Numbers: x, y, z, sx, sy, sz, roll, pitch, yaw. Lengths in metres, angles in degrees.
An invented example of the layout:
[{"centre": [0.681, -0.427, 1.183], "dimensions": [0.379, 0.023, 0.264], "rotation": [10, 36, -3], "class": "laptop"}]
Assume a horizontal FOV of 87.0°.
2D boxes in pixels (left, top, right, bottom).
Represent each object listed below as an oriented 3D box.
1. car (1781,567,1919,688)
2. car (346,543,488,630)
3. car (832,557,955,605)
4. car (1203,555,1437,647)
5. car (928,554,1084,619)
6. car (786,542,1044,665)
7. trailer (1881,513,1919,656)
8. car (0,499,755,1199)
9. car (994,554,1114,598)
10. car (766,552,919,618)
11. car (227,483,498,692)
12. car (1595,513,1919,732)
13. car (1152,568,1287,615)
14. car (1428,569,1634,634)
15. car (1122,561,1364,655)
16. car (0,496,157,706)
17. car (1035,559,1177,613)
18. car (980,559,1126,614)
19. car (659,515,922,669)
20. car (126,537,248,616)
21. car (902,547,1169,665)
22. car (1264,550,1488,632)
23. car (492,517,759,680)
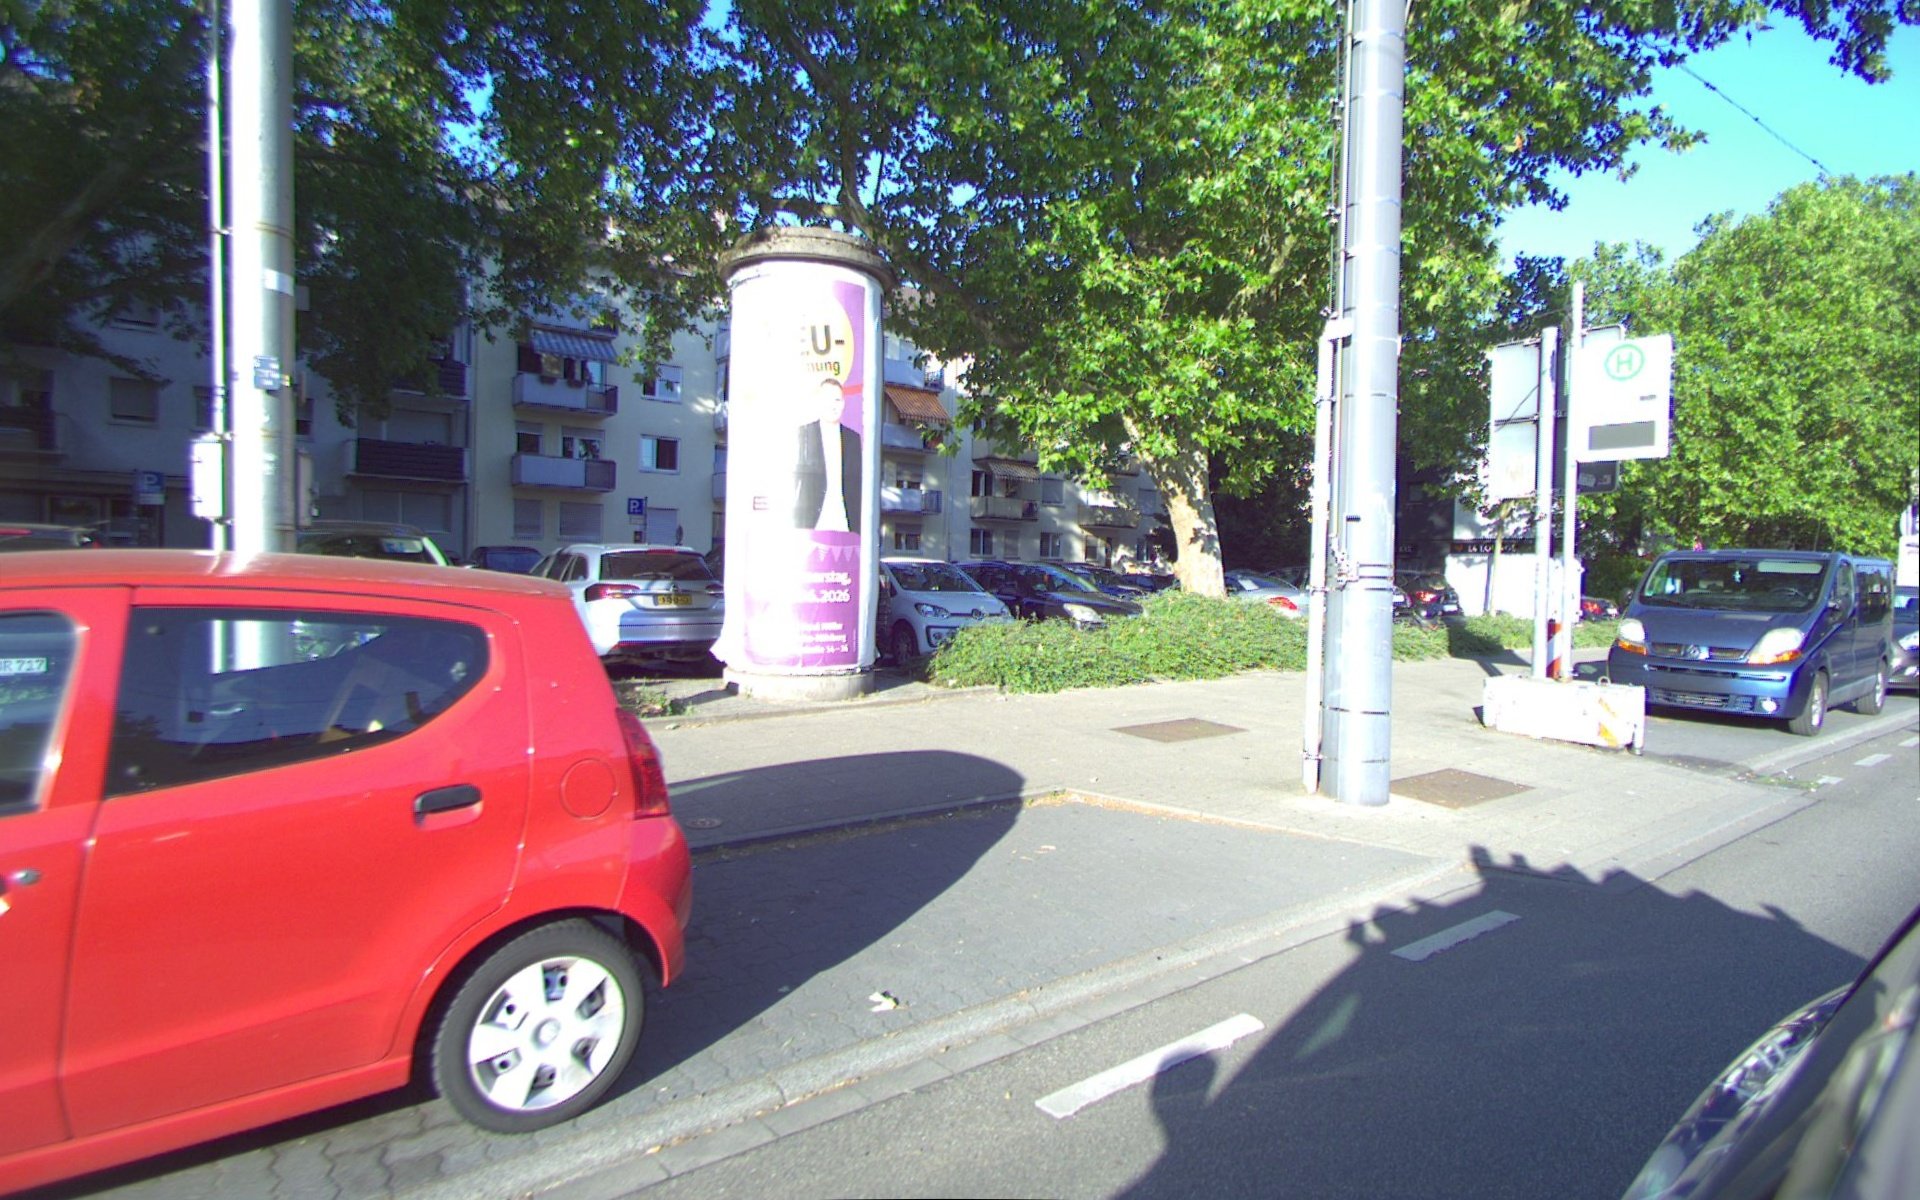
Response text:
[{"centre": [14.407, 0.361, 15.608], "dimensions": [3.926, 1.650, 1.801], "rotation": [0, 2, -37], "class": "car"}, {"centre": [-10.958, -0.322, 20.291], "dimensions": [1.963, 1.553, 4.062], "rotation": [0, 2, -36], "class": "car"}, {"centre": [-2.302, -0.671, 34.021], "dimensions": [1.947, 1.514, 4.290], "rotation": [0, 2, -40], "class": "car"}, {"centre": [7.054, -0.053, 20.226], "dimensions": [1.768, 1.618, 4.126], "rotation": [0, 2, -36], "class": "car"}, {"centre": [1.243, -0.439, 29.070], "dimensions": [1.965, 1.712, 4.452], "rotation": [0, 2, -40], "class": "car"}, {"centre": [-0.757, 0.059, 14.065], "dimensions": [1.768, 1.455, 3.852], "rotation": [2, -1, -36], "class": "car"}, {"centre": [19.751, -0.281, 19.666], "dimensions": [4.565, 2.620, 1.891], "rotation": [0, 2, -37], "class": "trailer"}, {"centre": [-2.491, 0.507, 2.449], "dimensions": [3.559, 1.512, 1.575], "rotation": [0, 4, -37], "class": "car"}, {"centre": [3.464, -0.930, 37.869], "dimensions": [1.965, 1.514, 4.290], "rotation": [0, 2, -40], "class": "car"}, {"centre": [-3.097, -0.430, 25.955], "dimensions": [1.963, 1.553, 4.294], "rotation": [0, 2, -37], "class": "car"}, {"centre": [-6.037, -0.069, 9.990], "dimensions": [1.822, 1.621, 4.031], "rotation": [0, -1, -38], "class": "car"}, {"centre": [9.409, 0.176, 11.823], "dimensions": [4.478, 2.104, 1.890], "rotation": [0, 2, -37], "class": "car"}, {"centre": [9.176, -0.334, 36.072], "dimensions": [1.965, 1.514, 4.290], "rotation": [0, 2, -40], "class": "car"}, {"centre": [14.912, -0.024, 26.605], "dimensions": [1.964, 1.514, 4.291], "rotation": [0, 2, -39], "class": "car"}, {"centre": [5.135, 0.059, 18.847], "dimensions": [1.768, 1.513, 4.126], "rotation": [0, 2, -36], "class": "car"}, {"centre": [-7.944, 0.031, 8.566], "dimensions": [1.741, 1.502, 3.505], "rotation": [0, -1, -38], "class": "car"}, {"centre": [4.640, -0.484, 32.573], "dimensions": [1.965, 1.553, 4.290], "rotation": [0, 2, -40], "class": "car"}, {"centre": [2.766, -0.451, 30.932], "dimensions": [1.965, 1.514, 4.290], "rotation": [0, 2, -40], "class": "car"}, {"centre": [-2.306, -0.090, 12.971], "dimensions": [1.821, 1.652, 3.852], "rotation": [0, 0, -36], "class": "car"}, {"centre": [-16.841, -0.531, 22.166], "dimensions": [1.963, 1.553, 4.062], "rotation": [0, 2, -36], "class": "car"}, {"centre": [0.984, -0.004, 15.246], "dimensions": [1.768, 1.513, 4.126], "rotation": [0, 2, -36], "class": "car"}, {"centre": [8.774, -0.164, 21.654], "dimensions": [1.768, 1.570, 4.124], "rotation": [0, 0, -36], "class": "car"}, {"centre": [-3.933, 0.011, 11.475], "dimensions": [1.821, 1.514, 3.851], "rotation": [0, -1, -36], "class": "car"}]
